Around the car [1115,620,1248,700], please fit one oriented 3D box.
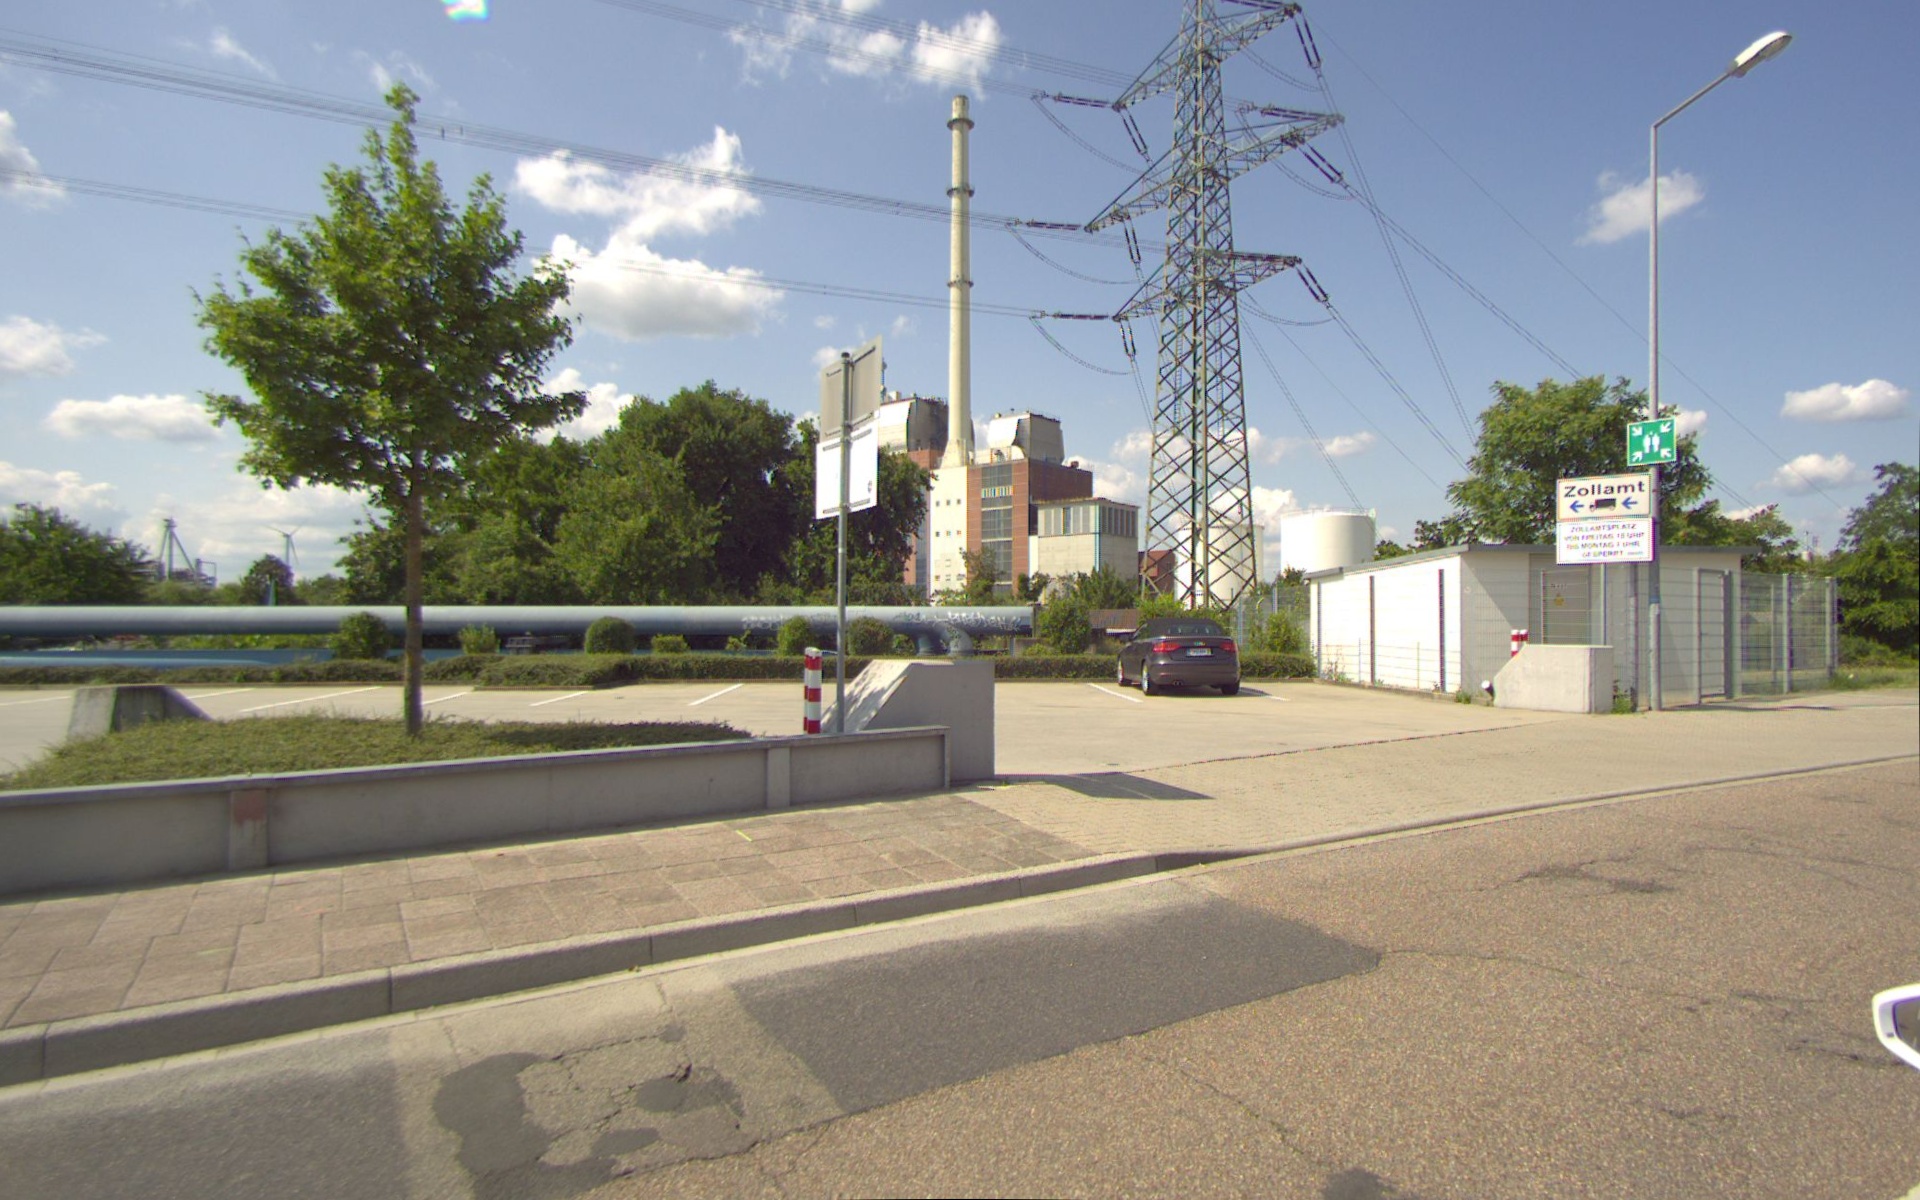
[{"bbox_3d":[4.179,1.095,19.535,1.768,1.396,4.001,0,-1,1],"label":"car"}]
